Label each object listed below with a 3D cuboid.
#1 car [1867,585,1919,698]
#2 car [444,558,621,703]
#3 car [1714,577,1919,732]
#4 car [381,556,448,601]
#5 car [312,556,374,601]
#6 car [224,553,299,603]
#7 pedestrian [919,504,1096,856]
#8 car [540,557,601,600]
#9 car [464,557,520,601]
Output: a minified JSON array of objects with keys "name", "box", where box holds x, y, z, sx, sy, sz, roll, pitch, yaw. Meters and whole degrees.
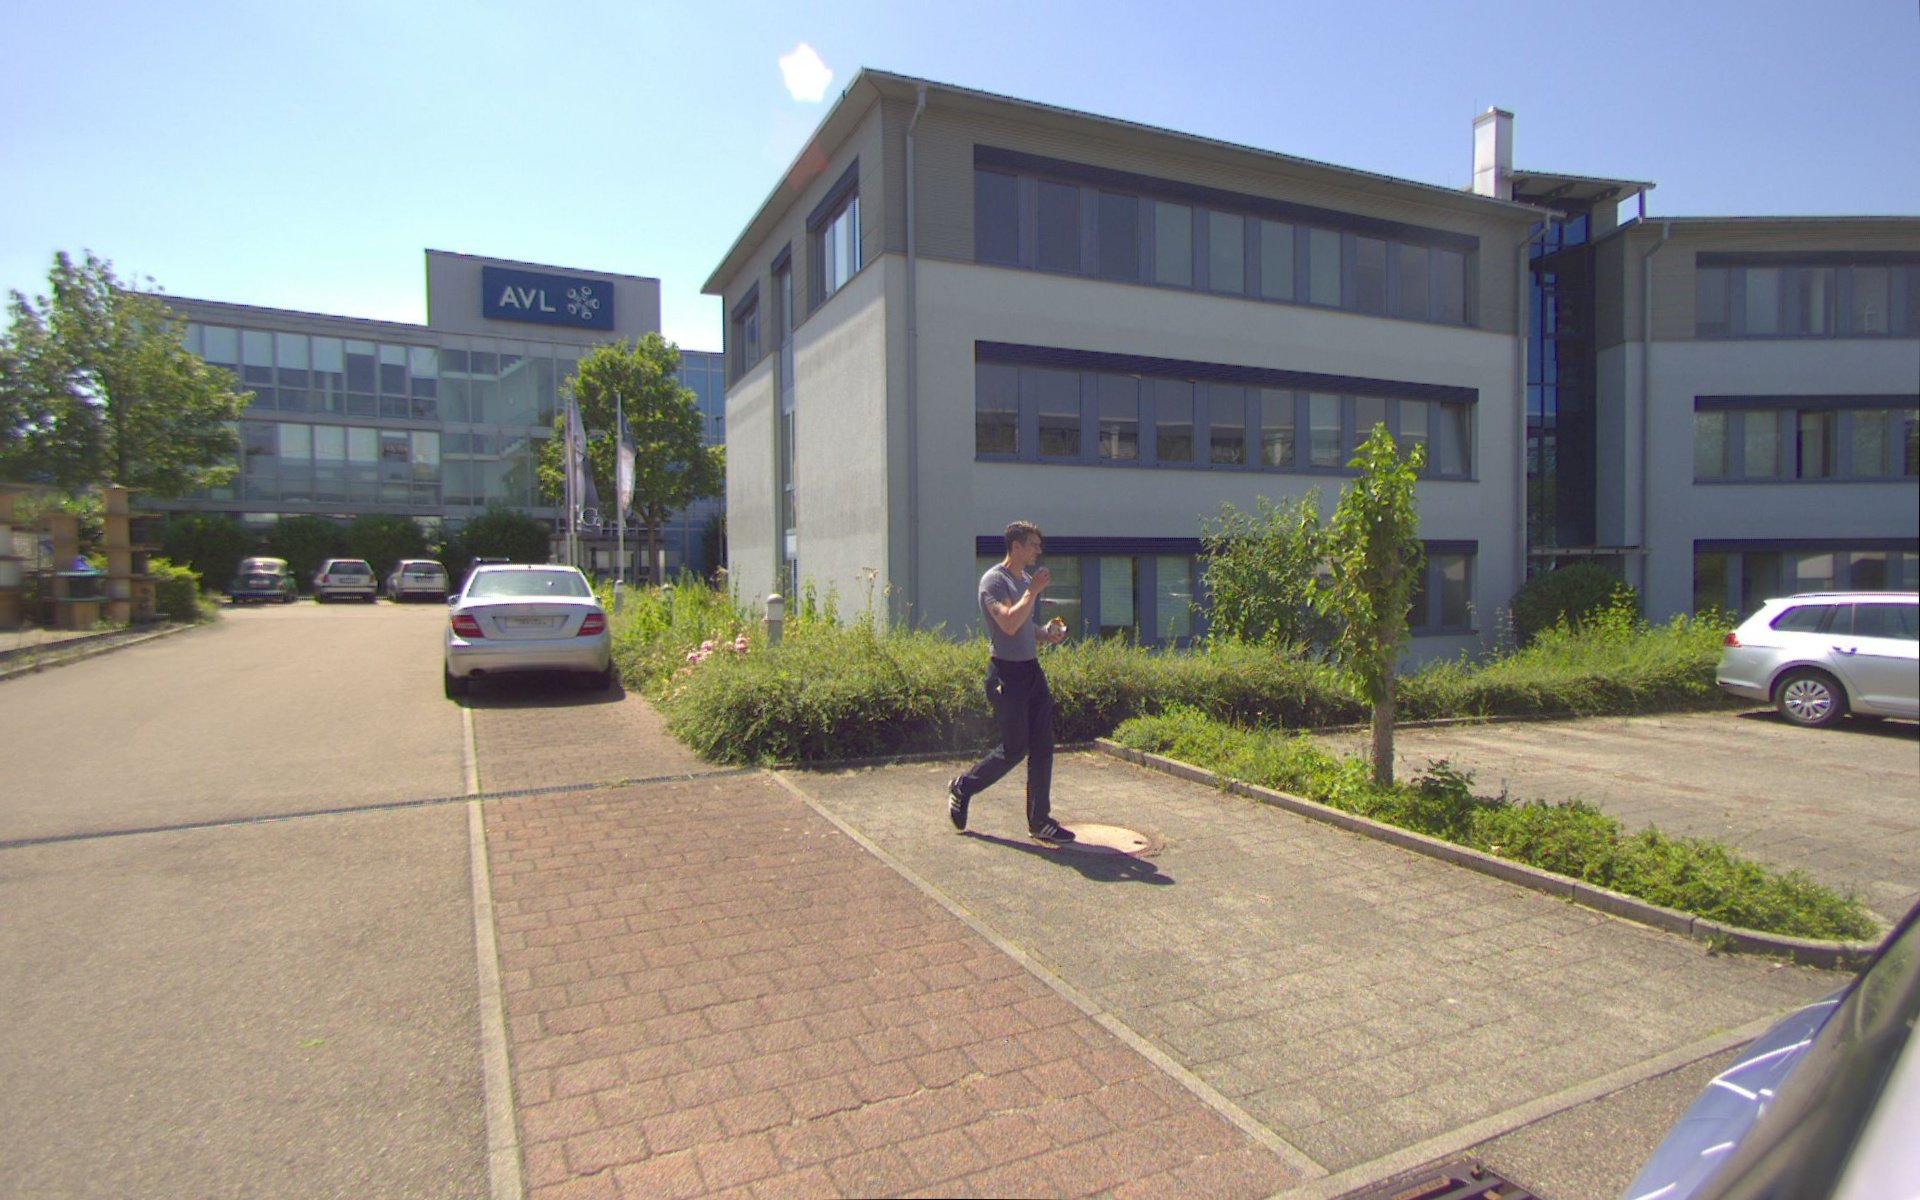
[{"name":"car","box":[13.585,0.591,12.025,1.618,1.408,3.834,0,3,-28]},{"name":"car","box":[-5.224,0.264,12.171,1.694,1.454,3.723,0,1,-26]},{"name":"car","box":[10.616,0.569,10.175,1.792,1.515,4.528,0,2,-28]},{"name":"car","box":[-19.605,-0.773,36.299,1.716,1.538,4.001,0,1,-34]},{"name":"car","box":[-21.255,-0.746,34.802,1.642,1.458,4.001,0,1,-34]},{"name":"car","box":[-23.116,-0.729,33.592,1.715,1.538,4.004,0,1,-30]},{"name":"pedestrian","box":[0.266,0.395,5.575,0.782,1.779,0.612,0,1,31]},{"name":"car","box":[-14.744,-0.814,38.201,1.714,1.538,4.006,0,1,-27]},{"name":"car","box":[-17.283,-0.781,37.287,1.714,1.538,4.006,0,1,-27]}]
